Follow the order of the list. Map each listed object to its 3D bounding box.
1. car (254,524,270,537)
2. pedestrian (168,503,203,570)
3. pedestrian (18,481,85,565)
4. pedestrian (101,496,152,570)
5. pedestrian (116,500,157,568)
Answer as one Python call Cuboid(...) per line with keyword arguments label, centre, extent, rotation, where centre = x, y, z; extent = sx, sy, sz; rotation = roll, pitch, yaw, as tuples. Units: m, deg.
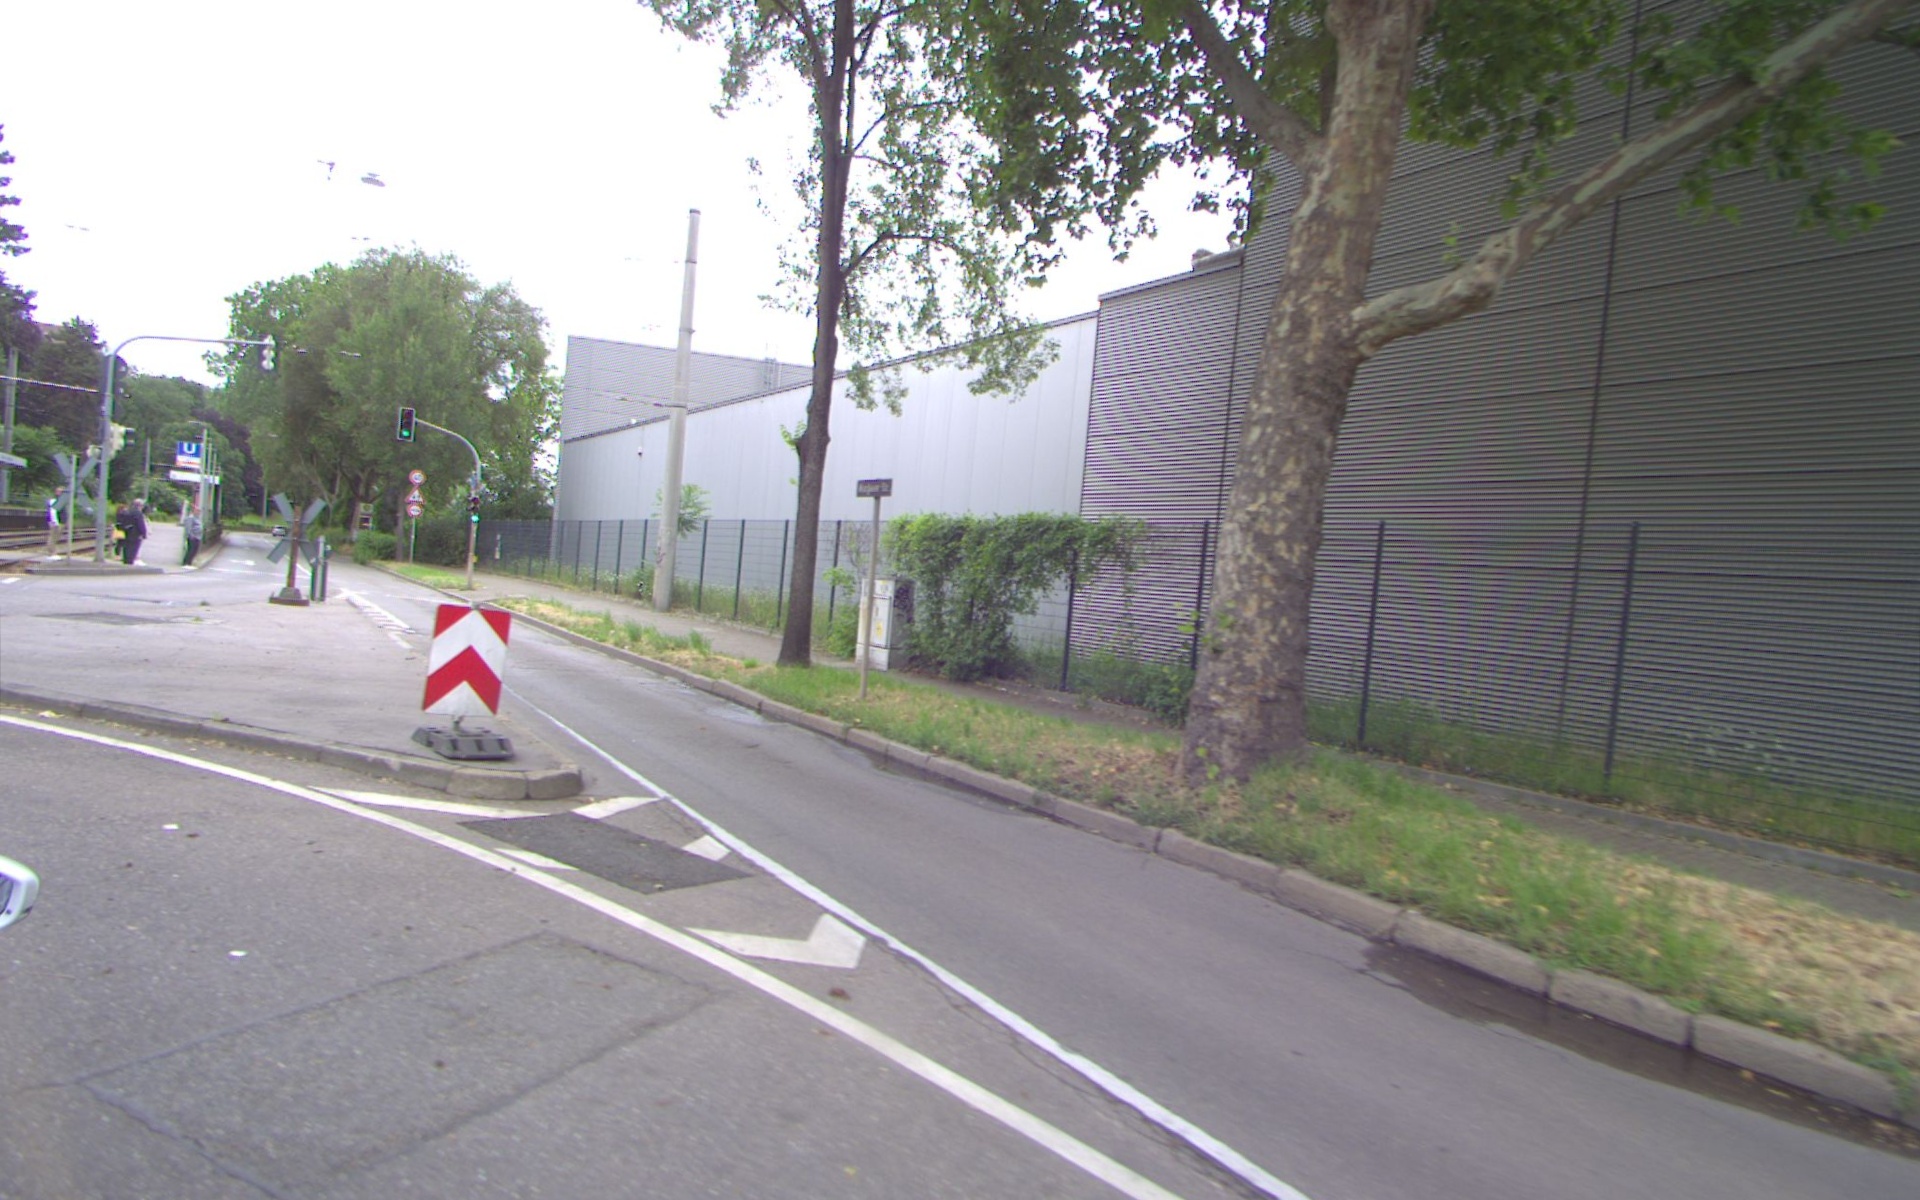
Cuboid(label="car", centre=(-102.951, -10.187, 148.378), extent=(1.735, 1.617, 3.960), rotation=(8, -1, -37))
Cuboid(label="pedestrian", centre=(-21.916, -1.789, 28.475), extent=(0.546, 1.779, 0.731), rotation=(8, 0, -32))
Cuboid(label="pedestrian", centre=(-21.907, -1.847, 24.268), extent=(0.658, 1.843, 0.806), rotation=(7, 0, 16))
Cuboid(label="pedestrian", centre=(-20.560, -1.642, 24.828), extent=(0.731, 1.685, 0.675), rotation=(8, 0, -35))
Cuboid(label="pedestrian", centre=(-21.868, -1.757, 26.722), extent=(0.676, 1.685, 0.729), rotation=(8, 0, -39))
